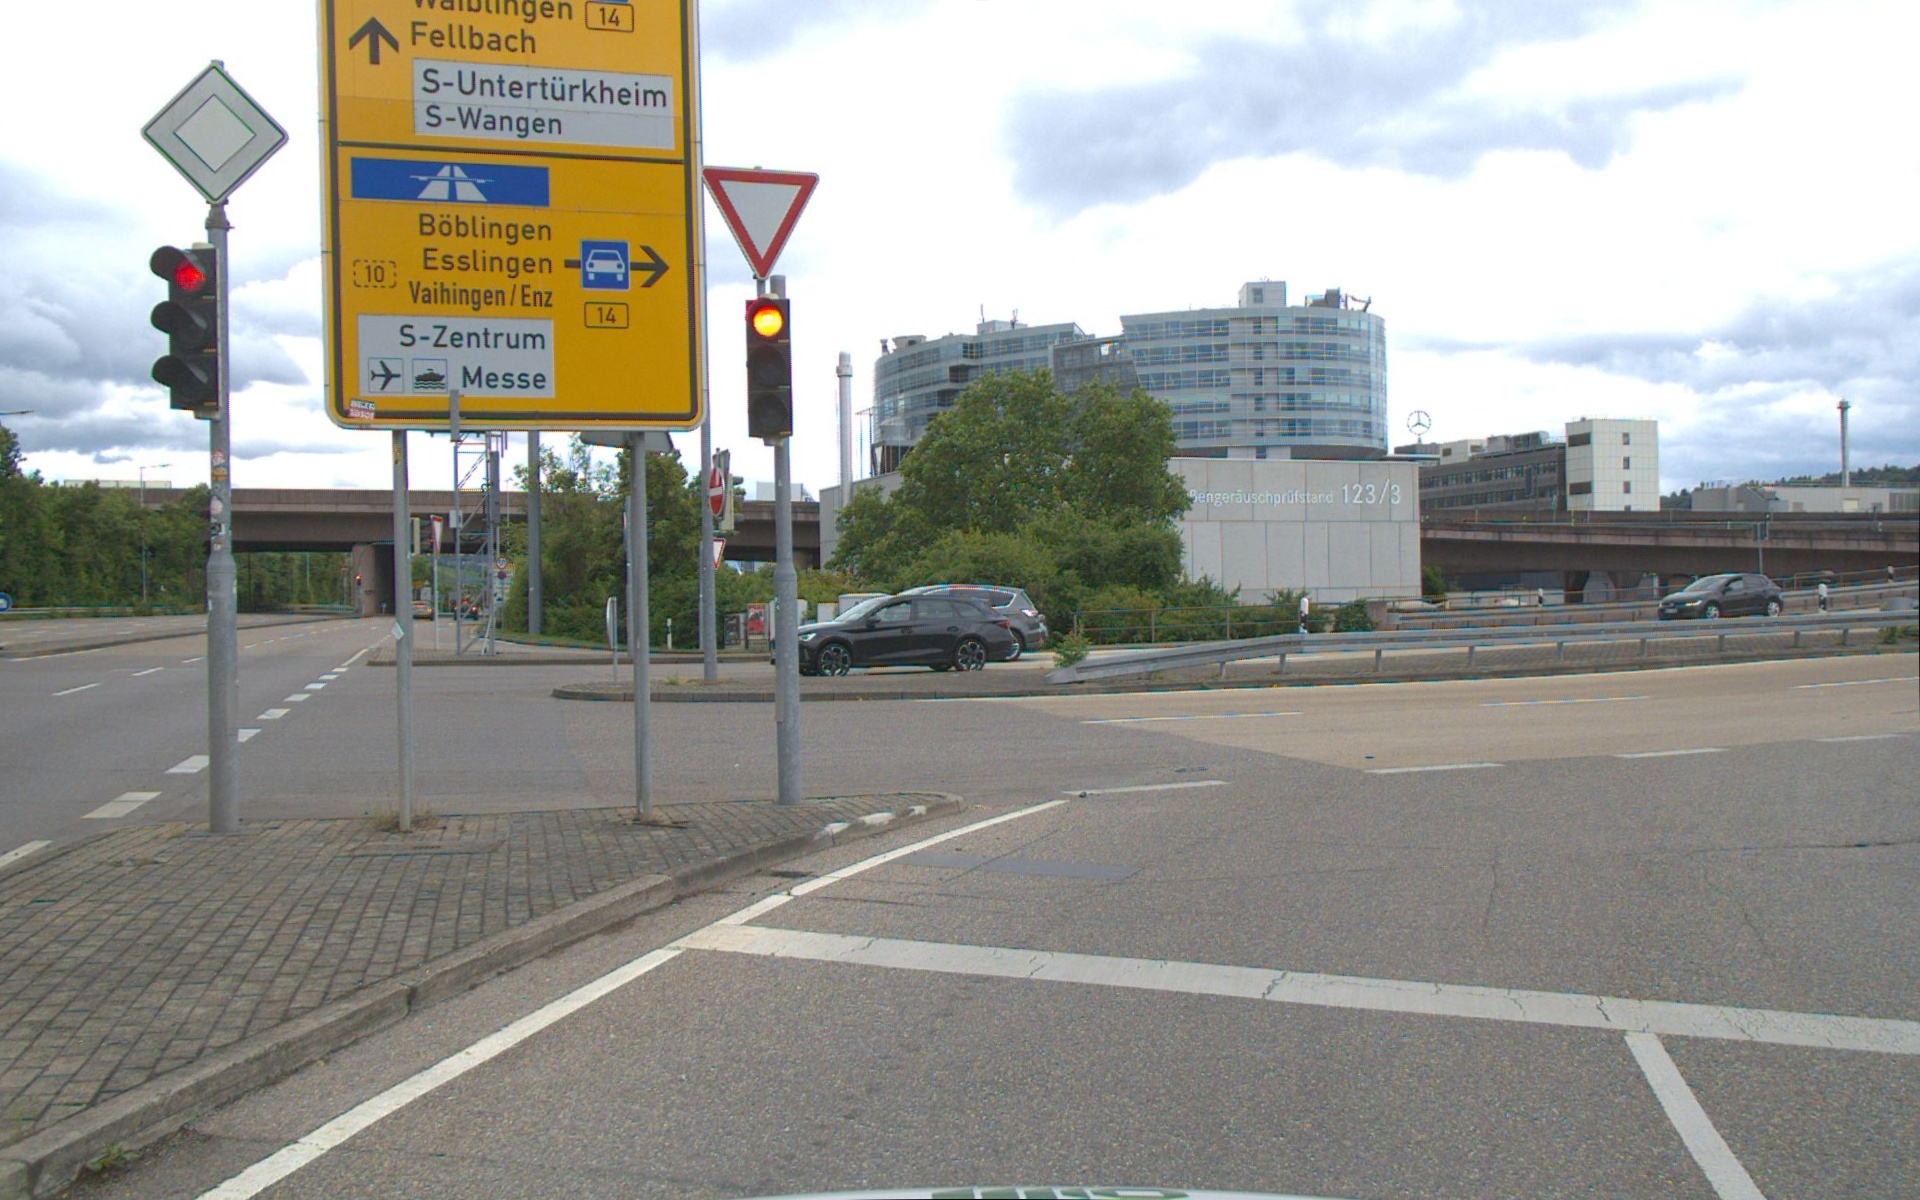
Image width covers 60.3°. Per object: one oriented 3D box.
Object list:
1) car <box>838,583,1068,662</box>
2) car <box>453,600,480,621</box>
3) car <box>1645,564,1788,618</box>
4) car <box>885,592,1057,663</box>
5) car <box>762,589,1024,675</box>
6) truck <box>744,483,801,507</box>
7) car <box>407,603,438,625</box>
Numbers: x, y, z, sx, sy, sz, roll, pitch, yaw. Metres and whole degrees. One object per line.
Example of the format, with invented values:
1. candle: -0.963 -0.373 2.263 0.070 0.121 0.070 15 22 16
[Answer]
1. car: -0.162 0.455 35.583 4.609 1.599 1.945 0 1 -20
2. car: -38.130 0.804 127.856 1.961 1.490 4.091 1 -2 -16
3. car: 23.277 -0.307 50.884 3.929 1.446 1.901 -3 2 -24
4. car: 0.338 0.755 46.301 4.634 1.691 1.916 3 0 1
5. car: -1.265 0.548 30.798 4.537 1.482 1.945 0 1 -20
6. truck: -18.609 -10.451 164.486 5.509 2.201 1.999 1 0 -3
7. car: -38.769 1.026 119.319 1.961 1.467 4.091 1 -2 -16
